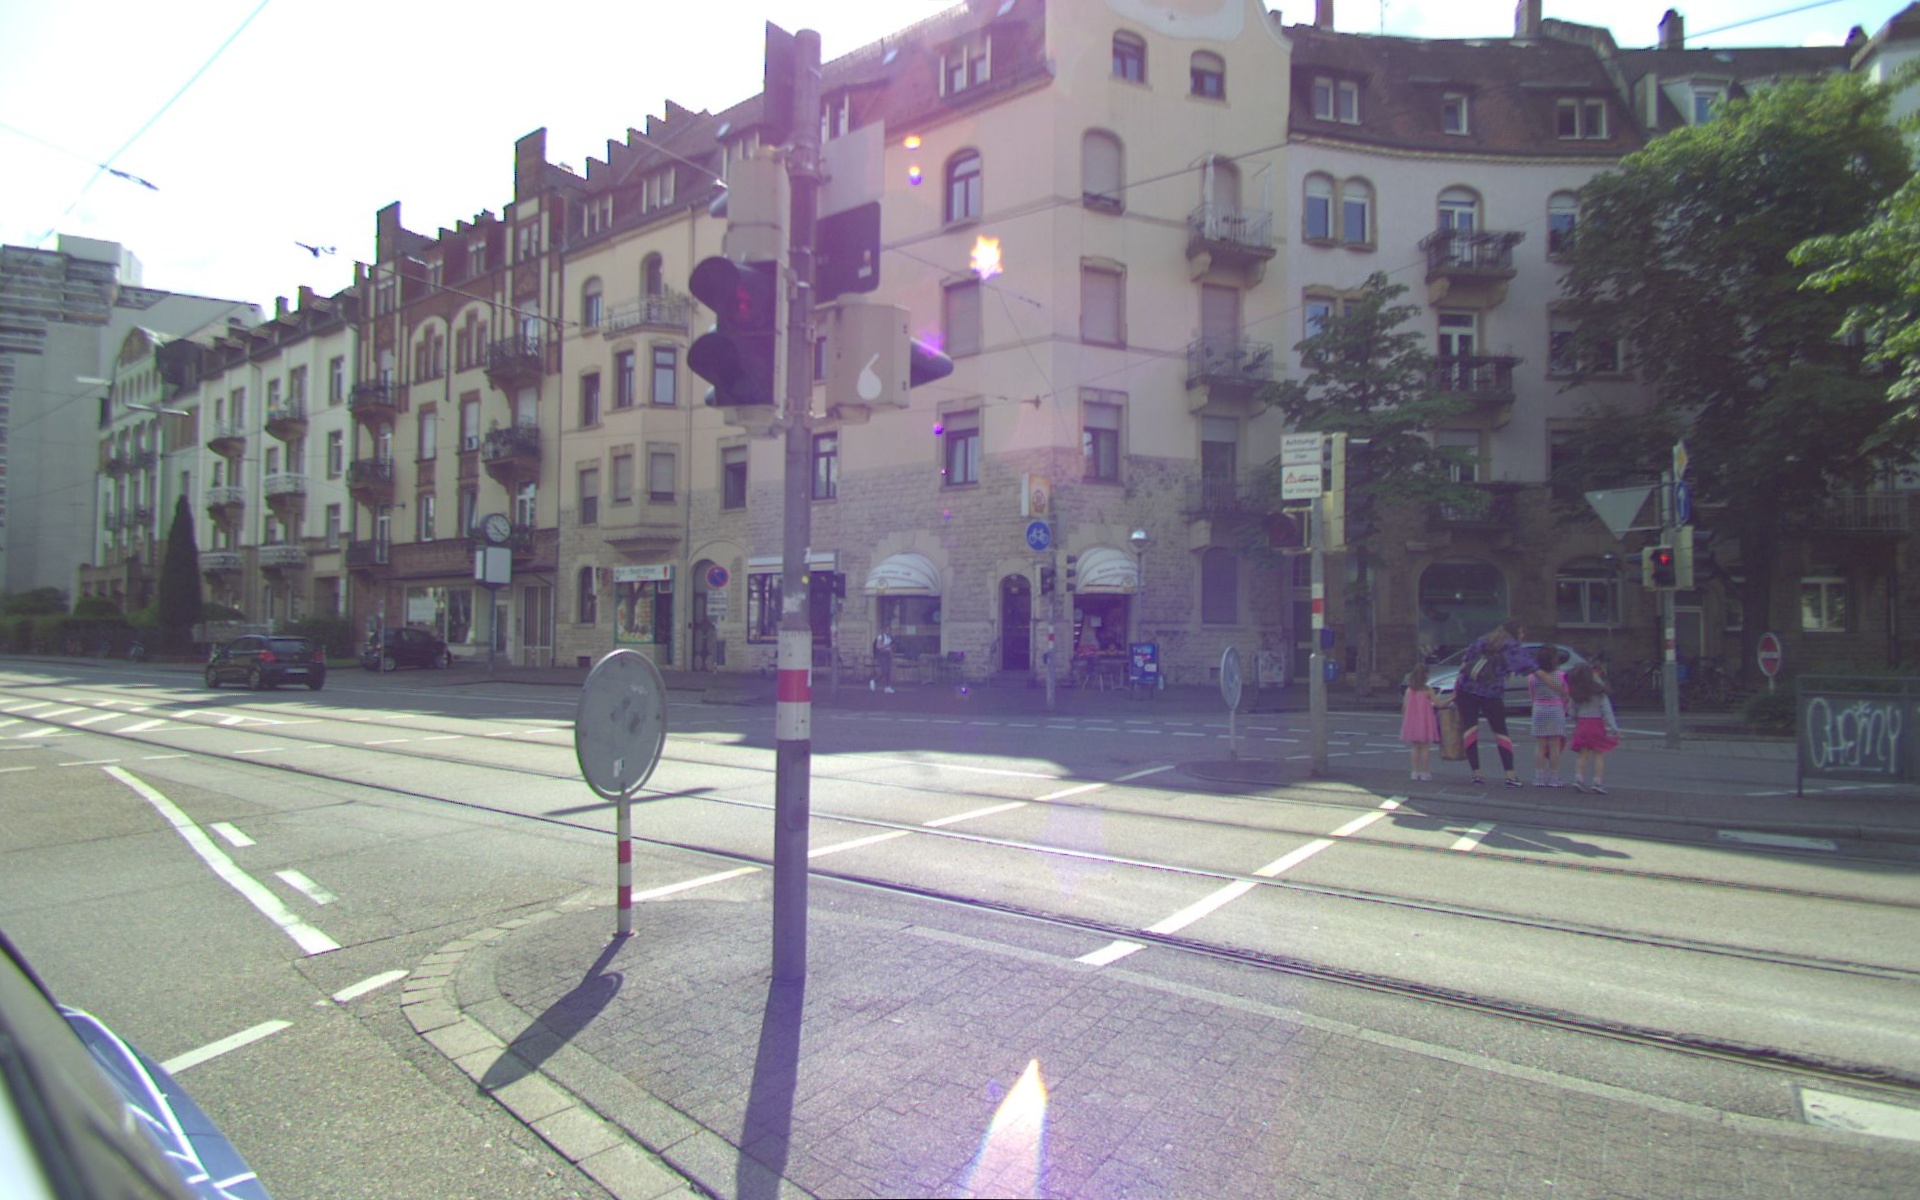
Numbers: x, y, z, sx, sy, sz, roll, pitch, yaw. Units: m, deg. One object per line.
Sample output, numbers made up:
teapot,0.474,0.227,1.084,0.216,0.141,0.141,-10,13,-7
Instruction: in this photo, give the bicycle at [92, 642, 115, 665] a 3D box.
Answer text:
bicycle,-41.147,2.551,48.603,1.871,1.037,0.533,-1,-2,40

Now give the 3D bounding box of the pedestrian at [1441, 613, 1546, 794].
pedestrian,4.961,0.925,9.401,0.796,1.577,0.722,-1,-3,31

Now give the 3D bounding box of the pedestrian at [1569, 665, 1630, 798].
pedestrian,5.620,1.139,8.911,0.422,1.117,0.434,-1,-5,31

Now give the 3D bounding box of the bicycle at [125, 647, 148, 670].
bicycle,-36.640,2.588,45.025,2.067,0.913,0.517,0,-2,43

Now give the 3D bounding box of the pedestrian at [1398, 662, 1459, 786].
pedestrian,4.482,1.160,9.673,0.442,1.122,0.636,-1,-3,31

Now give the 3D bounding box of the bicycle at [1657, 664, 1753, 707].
bicycle,17.595,2.006,23.968,0.538,0.889,2.034,1,-1,-8

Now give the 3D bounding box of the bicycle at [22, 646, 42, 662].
bicycle,-49.887,2.904,54.399,1.871,0.803,0.580,-1,0,40

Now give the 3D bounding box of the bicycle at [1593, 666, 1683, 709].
bicycle,15.910,2.037,23.814,0.503,0.889,2.034,1,-1,-8

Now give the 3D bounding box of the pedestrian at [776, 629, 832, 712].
pedestrian,-3.386,1.508,21.977,0.872,1.717,0.750,-2,1,35

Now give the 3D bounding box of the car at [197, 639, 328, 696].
car,-18.377,1.762,26.649,3.425,1.398,1.612,-2,-4,33

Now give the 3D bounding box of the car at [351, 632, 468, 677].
car,-20.264,1.984,37.319,1.703,1.498,3.412,-2,-1,37

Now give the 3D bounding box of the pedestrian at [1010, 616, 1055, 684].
pedestrian,1.827,1.252,25.603,0.855,1.685,0.812,-2,-3,35

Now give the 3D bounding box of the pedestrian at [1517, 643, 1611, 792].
pedestrian,5.695,1.082,9.563,0.715,1.314,0.819,-1,-5,31

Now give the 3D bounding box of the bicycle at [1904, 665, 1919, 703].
bicycle,23.404,2.018,23.802,0.564,0.905,2.029,0,-1,2

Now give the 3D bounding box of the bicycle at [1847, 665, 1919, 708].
bicycle,22.169,2.029,23.985,0.539,0.905,2.030,0,-1,1

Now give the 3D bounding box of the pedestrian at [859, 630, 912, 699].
pedestrian,-1.746,1.496,23.771,0.962,1.553,0.687,-2,1,37

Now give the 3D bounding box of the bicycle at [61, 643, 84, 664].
bicycle,-44.853,2.684,51.143,1.871,0.993,0.580,-1,-2,40

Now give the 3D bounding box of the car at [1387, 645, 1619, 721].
car,10.784,1.617,20.211,3.810,1.431,1.725,1,-3,-11
